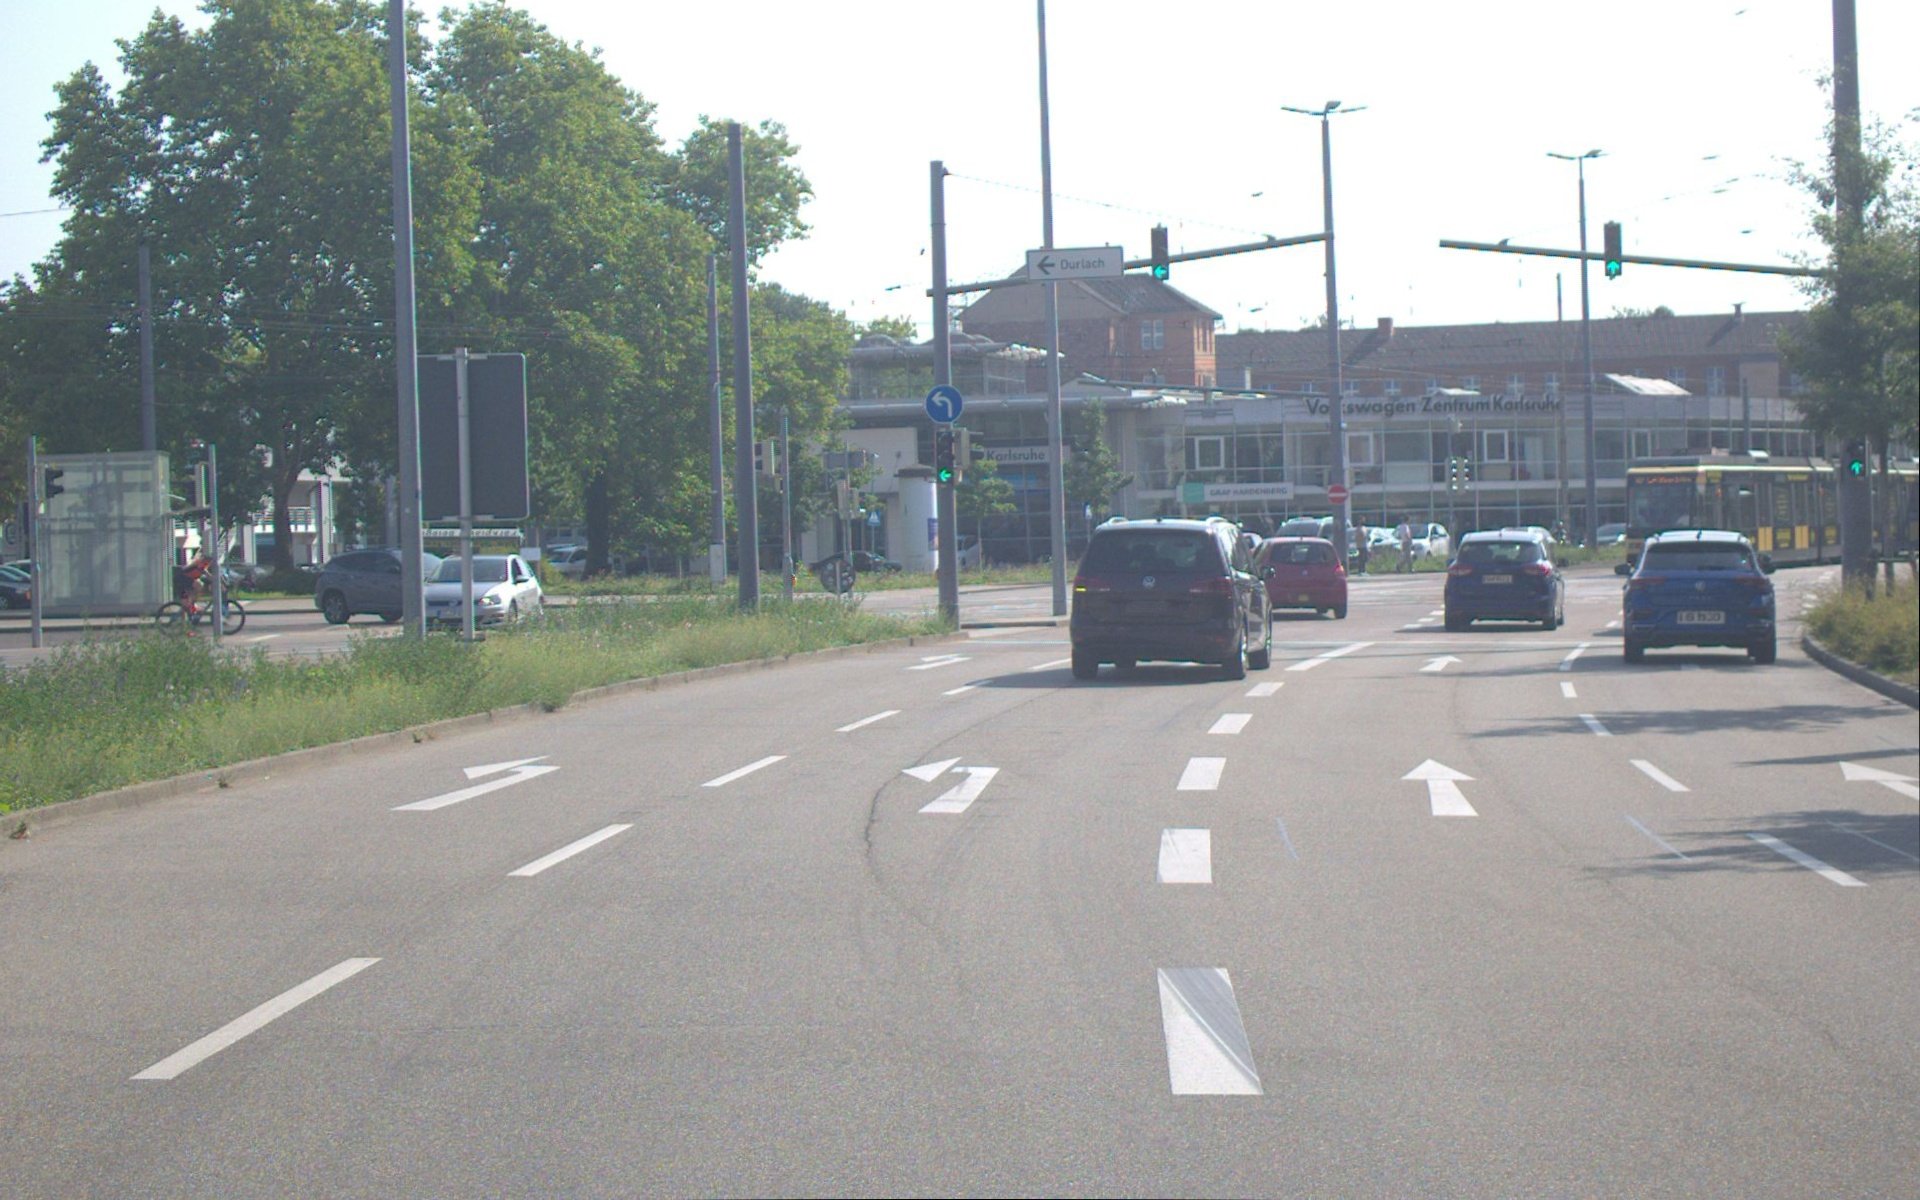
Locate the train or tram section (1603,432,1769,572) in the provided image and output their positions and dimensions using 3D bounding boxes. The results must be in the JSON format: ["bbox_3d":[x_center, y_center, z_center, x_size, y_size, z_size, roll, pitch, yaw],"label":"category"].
[{"bbox_3d":[20.637,-2.789,97.257,2.658,3.686,10.577,-1,1,22],"label":"train or tram section"}]

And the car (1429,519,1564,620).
[{"bbox_3d":[8.868,-0.527,56.541,1.826,1.530,4.410,-1,1,13],"label":"car"}]

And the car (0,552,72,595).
[{"bbox_3d":[-30.865,-0.856,110.865,4.155,1.349,1.578,-1,1,-8],"label":"car"}]

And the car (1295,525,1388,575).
[{"bbox_3d":[12.043,-1.583,108.283,1.616,1.470,3.995,-3,0,25],"label":"car"}]

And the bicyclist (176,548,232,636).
[{"bbox_3d":[-14.452,-0.162,65.761,0.881,1.646,0.726,-1,1,-1],"label":"bicyclist"}]

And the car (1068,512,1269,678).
[{"bbox_3d":[2.369,-0.112,38.052,1.826,1.708,4.411,1,2,8],"label":"car"}]

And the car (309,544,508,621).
[{"bbox_3d":[-12.173,-0.383,75.737,4.456,1.612,1.696,-1,1,38],"label":"car"}]

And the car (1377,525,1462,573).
[{"bbox_3d":[15.327,-1.712,114.594,1.616,1.470,3.995,-3,0,25],"label":"car"}]

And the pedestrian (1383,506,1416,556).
[{"bbox_3d":[13.218,-2.074,103.392,0.778,1.498,0.709,-1,1,23],"label":"pedestrian"}]

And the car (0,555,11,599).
[{"bbox_3d":[-31.133,-0.671,104.596,4.155,1.349,1.482,-1,1,-8],"label":"car"}]

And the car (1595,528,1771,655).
[{"bbox_3d":[8.857,-0.138,42.412,1.826,1.423,4.411,-1,1,8],"label":"car"}]

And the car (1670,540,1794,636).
[{"bbox_3d":[12.491,-0.222,55.797,1.826,1.423,4.410,-1,1,11],"label":"car"}]

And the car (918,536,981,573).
[{"bbox_3d":[-0.425,-1.966,147.748,1.700,1.517,4.097,-1,1,15],"label":"car"}]

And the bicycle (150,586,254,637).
[{"bbox_3d":[-14.488,0.213,65.761,1.812,0.929,0.726,-1,1,-1],"label":"bicycle"}]

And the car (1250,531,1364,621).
[{"bbox_3d":[6.397,-0.467,63.042,1.826,1.530,4.411,-1,1,8],"label":"car"}]

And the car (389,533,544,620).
[{"bbox_3d":[-8.630,-0.440,60.442,1.814,1.428,4.224,-1,1,4],"label":"car"}]
